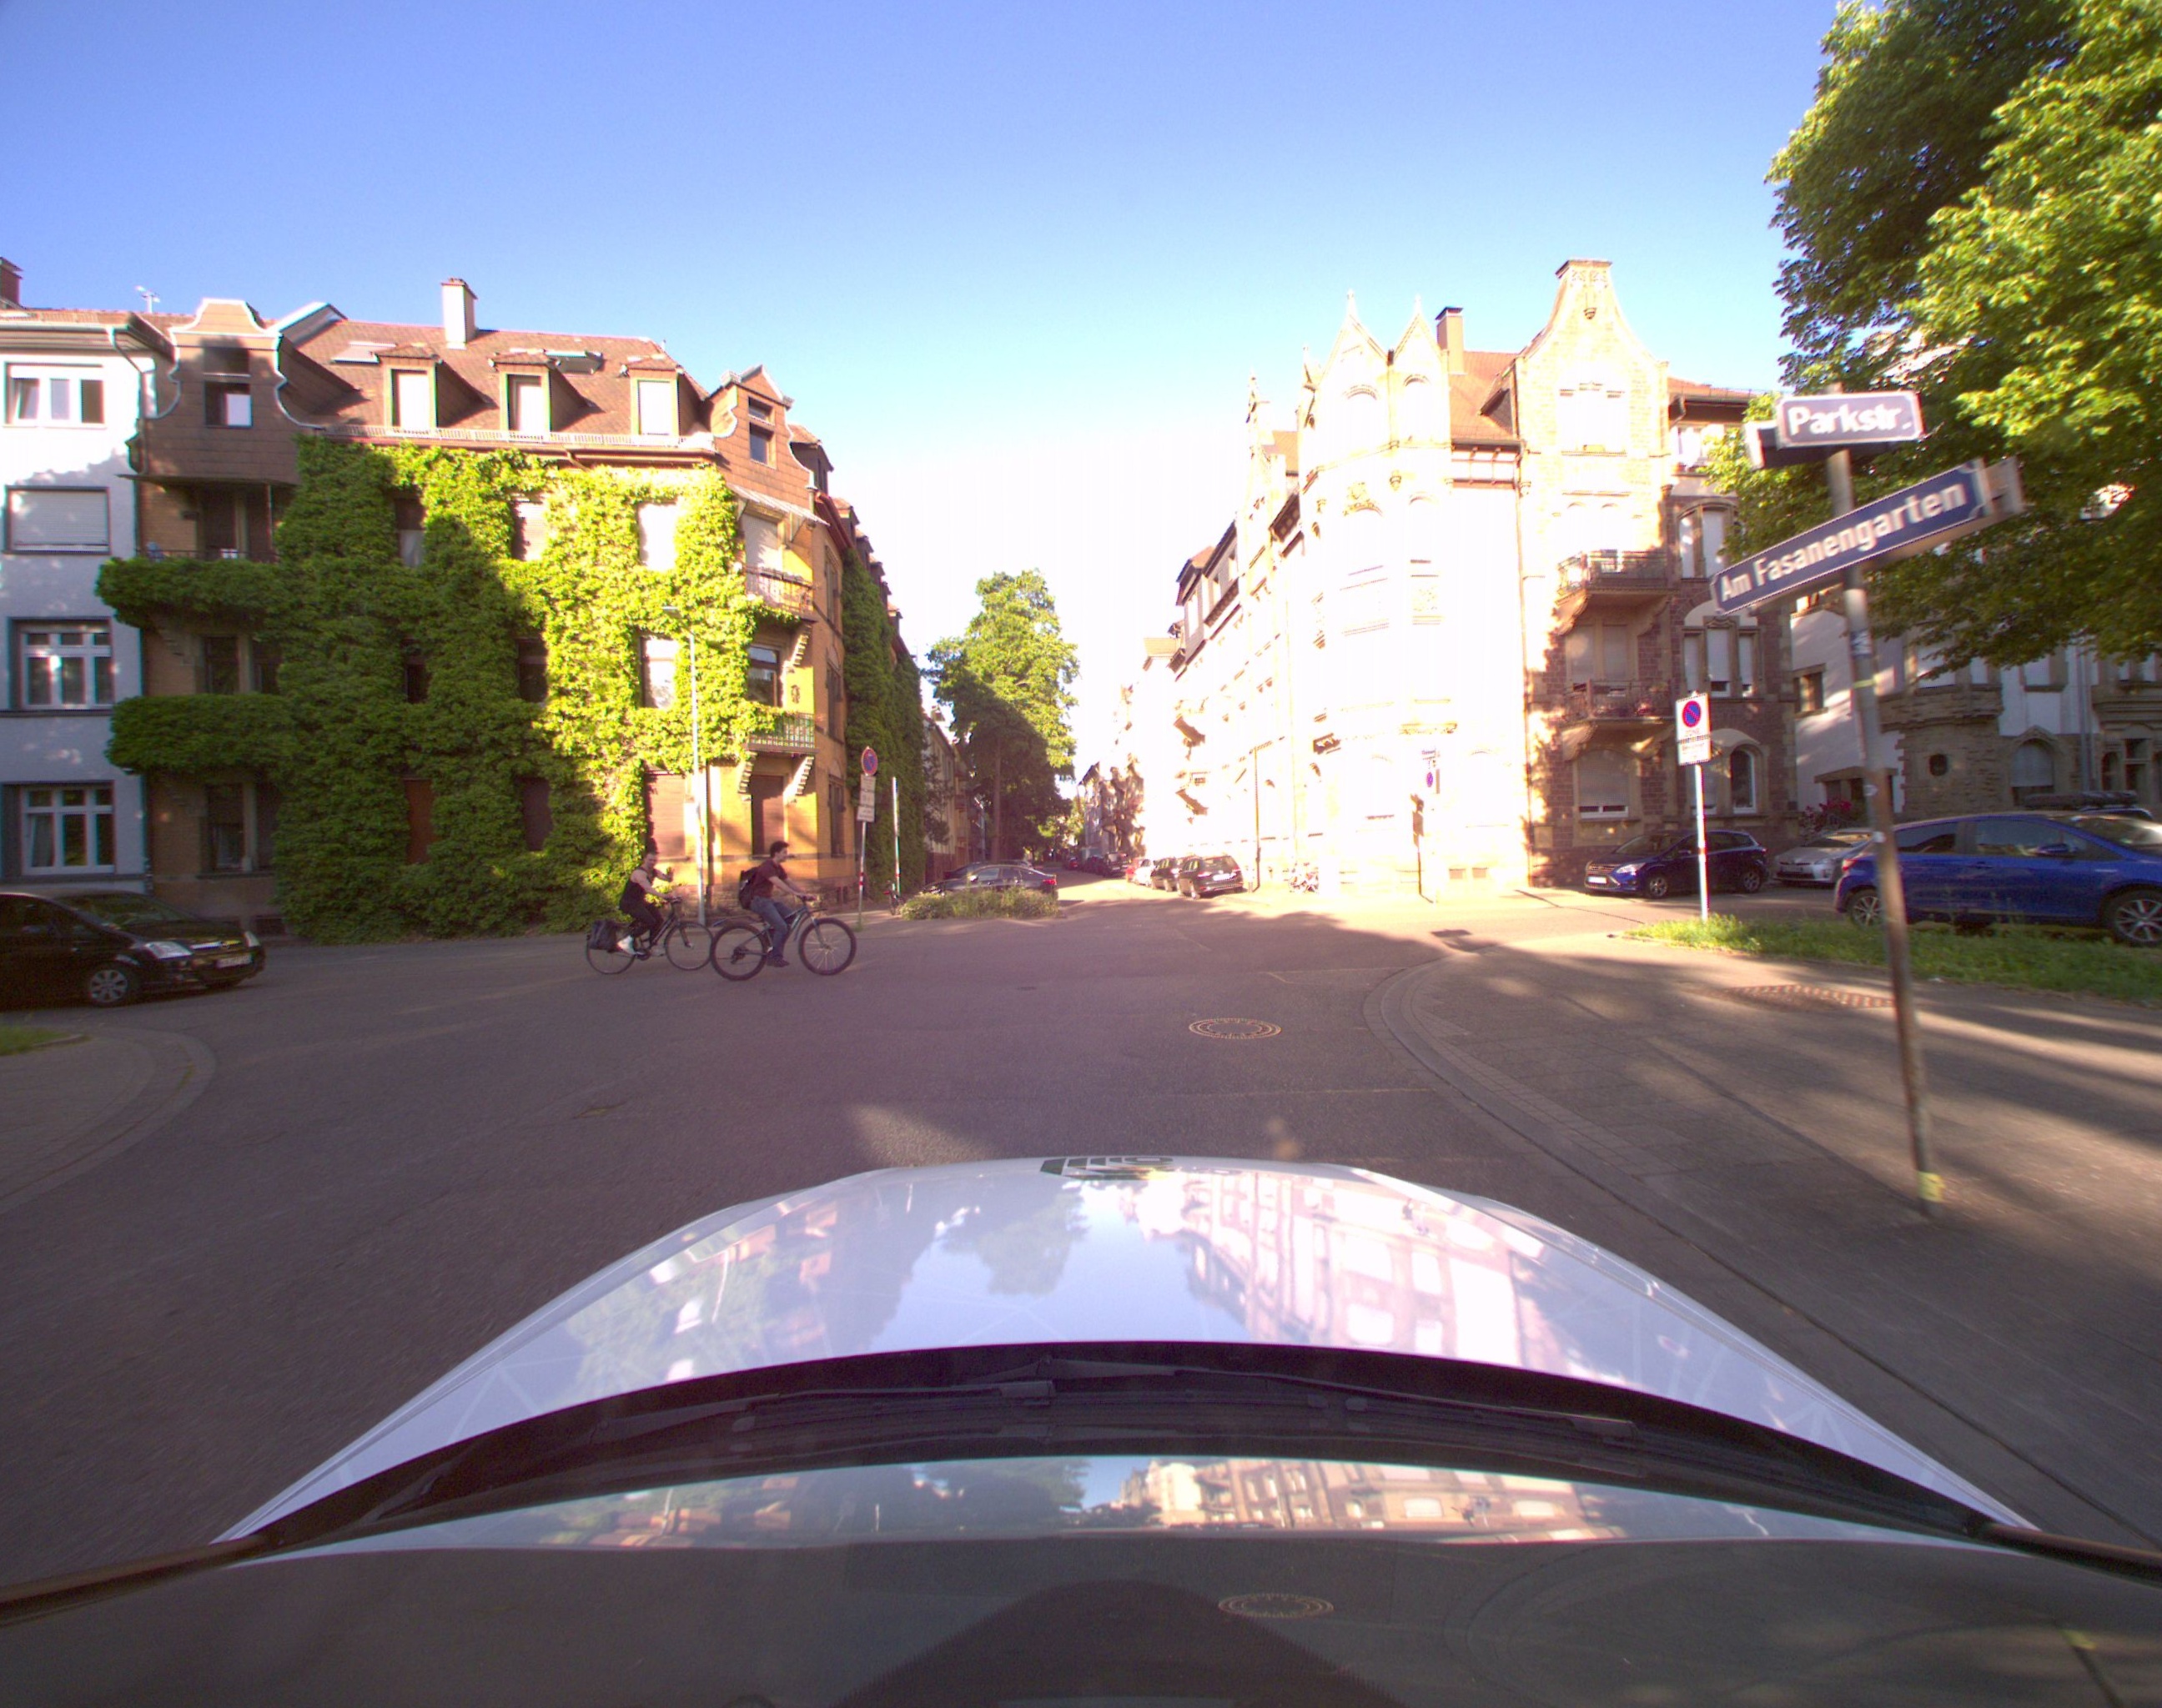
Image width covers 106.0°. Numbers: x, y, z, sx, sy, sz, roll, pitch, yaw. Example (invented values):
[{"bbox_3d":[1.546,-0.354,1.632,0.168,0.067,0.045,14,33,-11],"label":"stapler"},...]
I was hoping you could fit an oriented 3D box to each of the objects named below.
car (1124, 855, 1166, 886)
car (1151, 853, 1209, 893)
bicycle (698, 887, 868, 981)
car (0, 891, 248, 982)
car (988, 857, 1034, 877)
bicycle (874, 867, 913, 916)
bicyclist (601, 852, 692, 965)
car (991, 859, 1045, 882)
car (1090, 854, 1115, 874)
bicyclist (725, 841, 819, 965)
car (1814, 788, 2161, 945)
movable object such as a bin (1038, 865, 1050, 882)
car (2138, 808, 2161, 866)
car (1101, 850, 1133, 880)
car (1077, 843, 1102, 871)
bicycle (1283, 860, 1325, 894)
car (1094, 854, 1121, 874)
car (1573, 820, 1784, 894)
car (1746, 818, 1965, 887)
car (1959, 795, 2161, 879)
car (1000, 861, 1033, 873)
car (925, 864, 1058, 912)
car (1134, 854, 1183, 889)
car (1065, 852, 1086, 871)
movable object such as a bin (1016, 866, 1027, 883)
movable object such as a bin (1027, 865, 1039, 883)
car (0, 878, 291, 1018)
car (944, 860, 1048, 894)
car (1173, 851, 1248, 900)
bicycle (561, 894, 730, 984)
[{"bbox_3d":[3.514,0.893,45.159,1.734,1.581,3.994,-1,-1,-4],"label":"car"},{"bbox_3d":[4.208,0.793,35.092,1.734,1.581,3.994,-1,-1,-4],"label":"car"},{"bbox_3d":[-3.827,1.019,10.573,1.961,1.072,0.556,-1,2,-8],"label":"bicycle"},{"bbox_3d":[-19.727,1.607,15.712,4.906,1.404,1.878,-3,1,-8],"label":"car"},{"bbox_3d":[-5.917,1.098,68.700,3.797,1.575,1.706,-1,-1,-7],"label":"car"},{"bbox_3d":[-5.248,1.020,22.871,0.560,1.268,1.604,-3,0,3],"label":"bicycle"},{"bbox_3d":[-6.216,0.755,11.686,0.970,1.527,0.705,-1,-1,-13],"label":"bicyclist"},{"bbox_3d":[-4.560,1.186,58.965,3.799,1.575,1.705,-1,-1,-8],"label":"car"},{"bbox_3d":[1.869,0.874,72.658,1.799,1.679,3.994,-1,-1,-4],"label":"car"},{"bbox_3d":[-3.997,0.616,10.603,0.968,1.527,0.719,-1,-1,-8],"label":"bicyclist"},{"bbox_3d":[11.492,0.148,9.495,1.992,1.556,3.988,-1,-2,-8],"label":"car"},{"bbox_3d":[-2.304,1.239,50.920,0.629,1.053,0.566,-1,-1,-10],"label":"movable object such as a bin"},{"bbox_3d":[32.033,-0.530,22.193,4.686,1.574,1.731,-1,-1,-6],"label":"car"},{"bbox_3d":[2.503,0.743,57.580,1.799,2.004,3.994,-1,-1,-4],"label":"car"},{"bbox_3d":[0.836,0.283,82.950,2.162,2.690,4.783,-1,-1,-4],"label":"car"},{"bbox_3d":[6.980,0.713,25.587,0.515,0.998,1.567,-1,-1,-16],"label":"bicycle"},{"bbox_3d":[2.122,0.826,66.063,1.799,1.514,3.994,-1,-1,-4],"label":"car"},{"bbox_3d":[14.635,0.047,20.034,4.243,1.622,1.730,-1,1,-9],"label":"car"},{"bbox_3d":[19.785,-0.052,20.876,4.439,1.498,1.730,-3,1,-9],"label":"car"},{"bbox_3d":[26.216,-0.470,21.500,4.482,1.974,1.969,-3,1,-9],"label":"car"},{"bbox_3d":[-7.532,1.478,94.703,3.797,1.240,1.706,-1,-1,-7],"label":"car"},{"bbox_3d":[-2.958,1.099,27.236,4.238,1.435,1.996,-1,-1,-6],"label":"car"},{"bbox_3d":[3.782,0.848,40.446,1.734,1.581,3.994,-1,-1,-4],"label":"car"},{"bbox_3d":[-0.674,0.875,99.994,2.162,2.237,4.783,-1,-1,-4],"label":"car"},{"bbox_3d":[-3.694,1.279,50.674,0.629,1.053,0.566,-1,-1,-10],"label":"movable object such as a bin"},{"bbox_3d":[-3.003,1.252,50.832,0.629,1.053,0.566,-1,-1,-10],"label":"movable object such as a bin"},{"bbox_3d":[-13.778,1.269,11.115,4.004,1.590,1.645,-3,1,-8],"label":"car"},{"bbox_3d":[-4.088,1.089,39.373,4.829,1.435,1.706,-1,-1,-7],"label":"car"},{"bbox_3d":[4.530,0.735,28.935,1.734,1.581,3.994,-1,-1,-4],"label":"car"},{"bbox_3d":[-6.221,1.193,11.735,1.964,1.073,0.695,-4,0,-13],"label":"bicycle"}]
